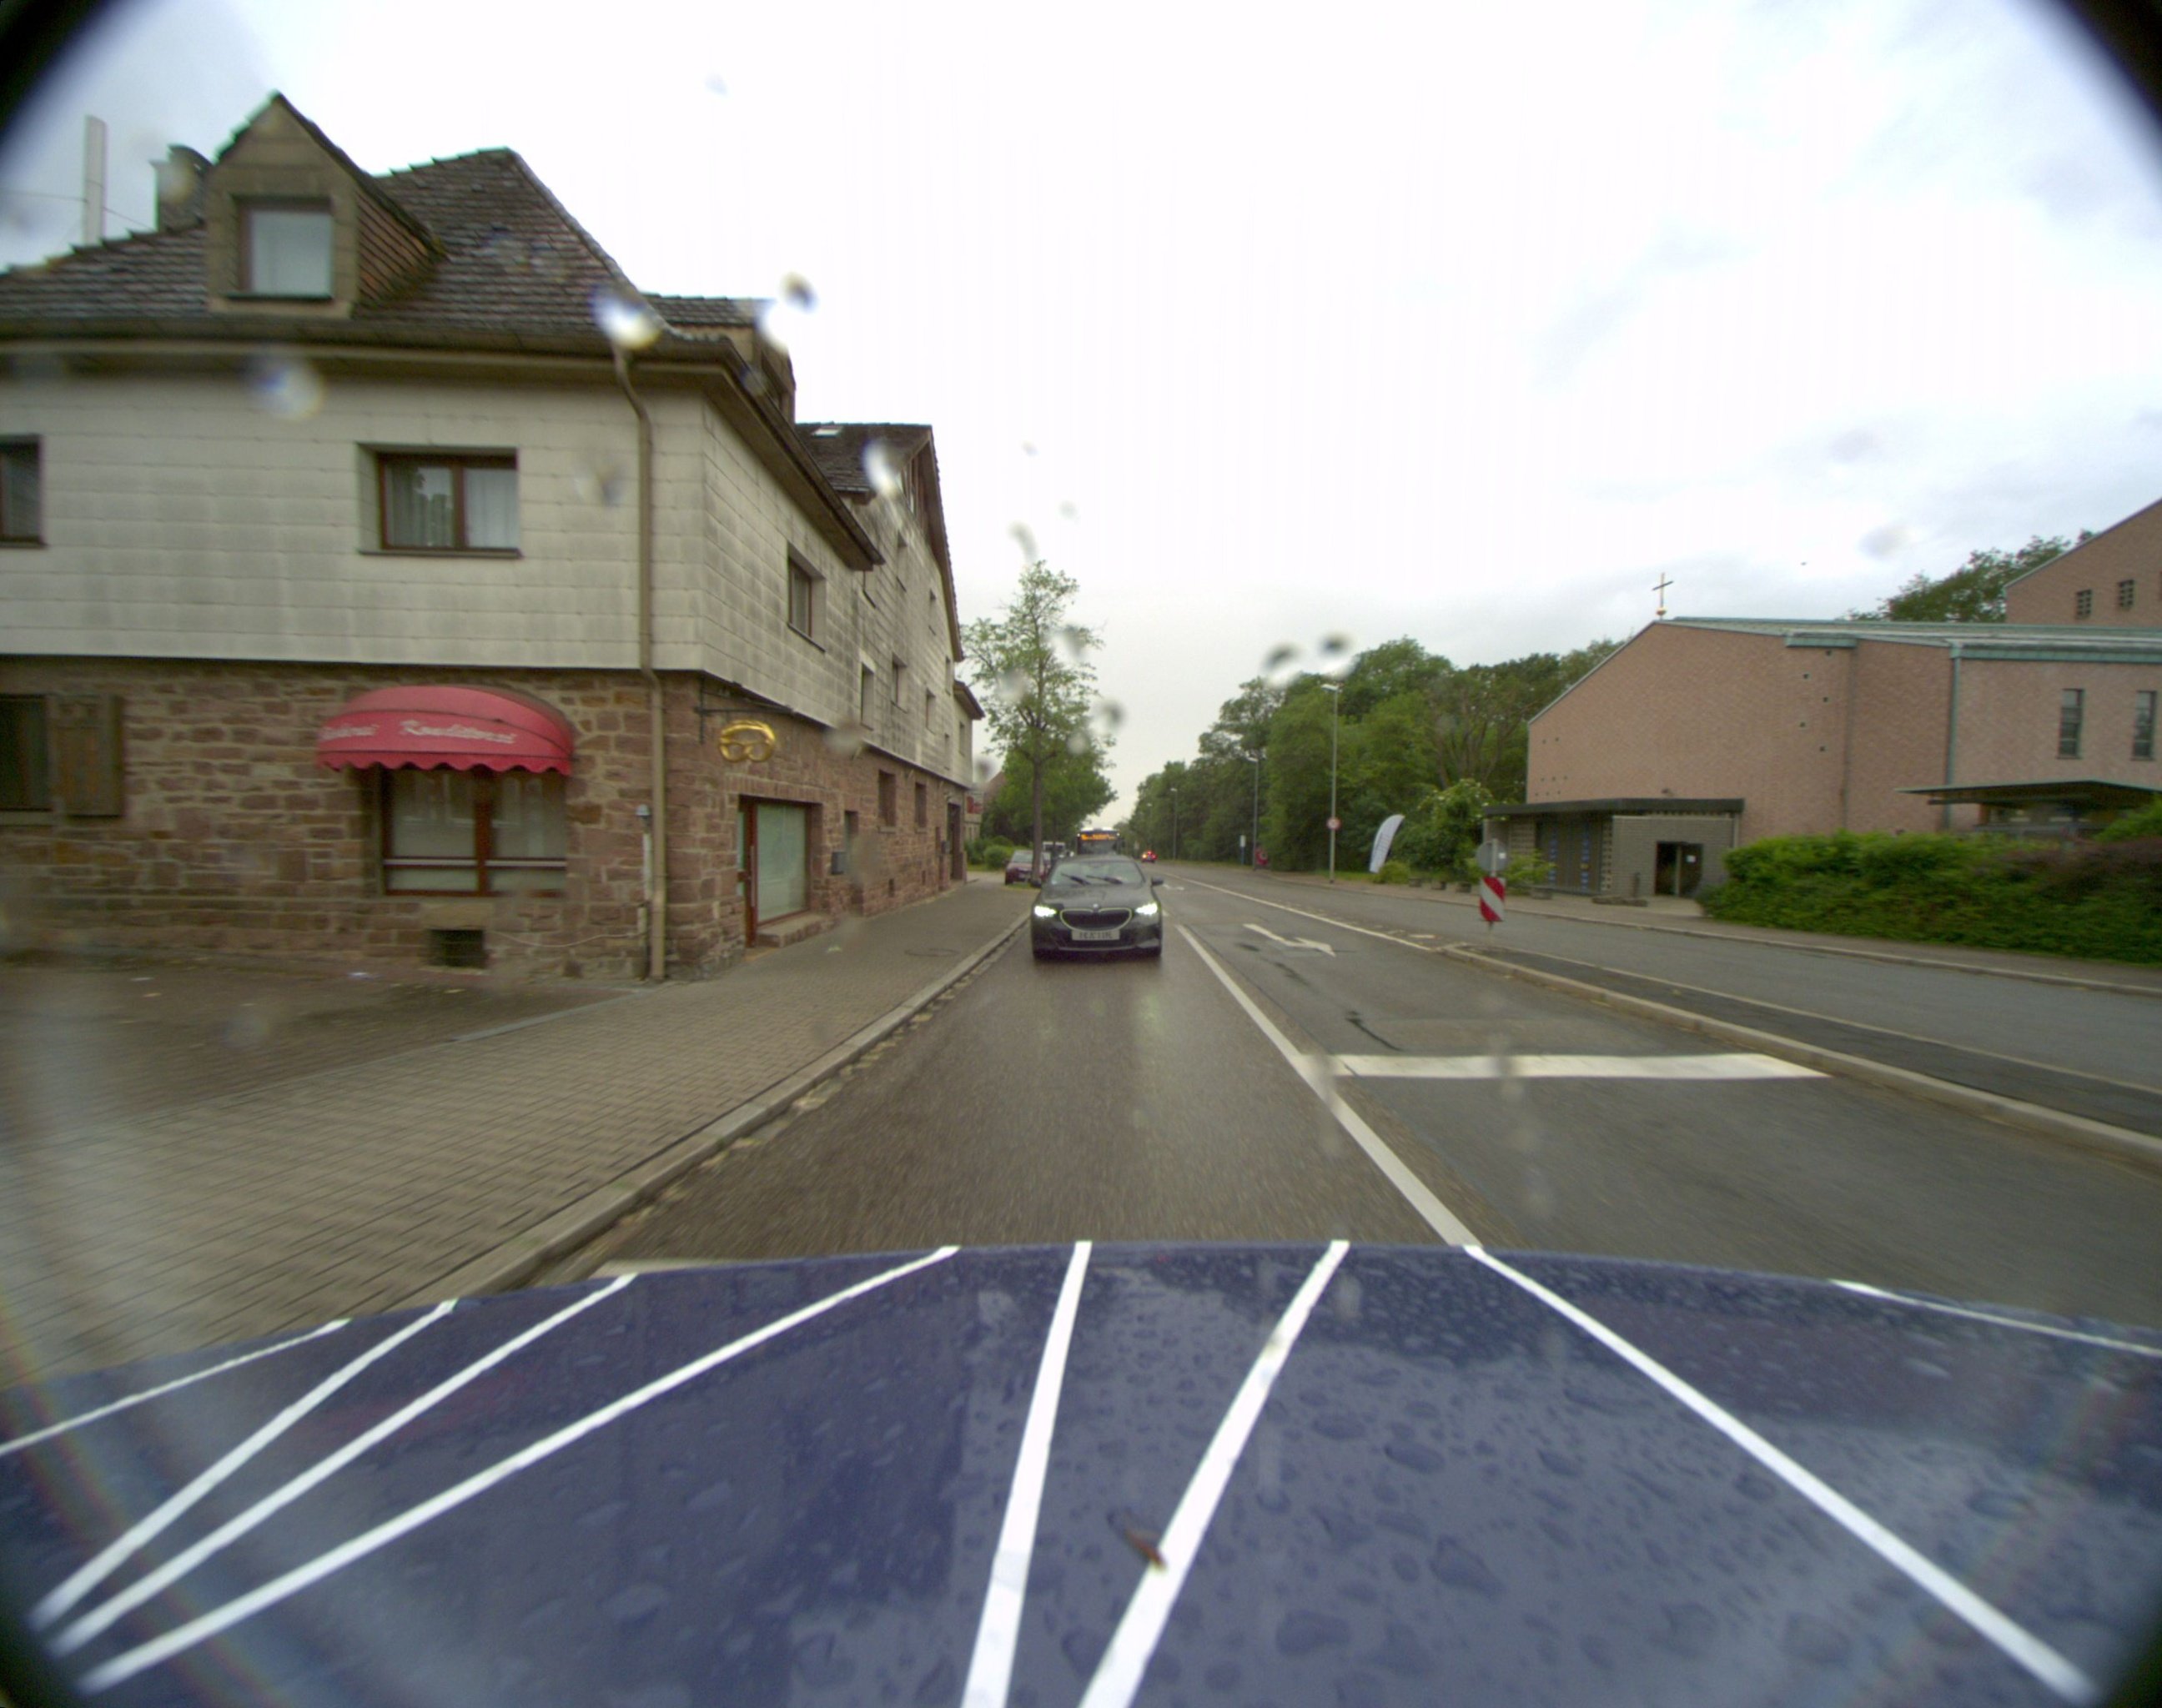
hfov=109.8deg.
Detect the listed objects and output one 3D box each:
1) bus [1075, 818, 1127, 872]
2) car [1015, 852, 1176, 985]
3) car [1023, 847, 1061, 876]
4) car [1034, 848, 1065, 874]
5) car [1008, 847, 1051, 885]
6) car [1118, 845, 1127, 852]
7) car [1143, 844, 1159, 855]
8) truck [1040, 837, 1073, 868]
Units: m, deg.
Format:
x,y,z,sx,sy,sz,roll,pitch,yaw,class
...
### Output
x,y,z,sx,sy,sz,roll,pitch,yaw,class
1.255,-0.569,45.839,2.767,2.858,9.403,-1,1,2,bus
0.235,0.767,11.295,1.882,1.520,4.316,-2,1,2,car
-2.125,0.381,42.310,1.719,1.416,4.000,3,1,2,car
-1.919,0.391,47.734,1.720,1.456,3.999,2,1,0,car
-2.125,0.504,32.046,1.614,1.494,3.756,-1,-1,-1,car
9.824,-1.303,180.297,1.915,1.445,4.947,4,1,0,car
10.551,-0.627,114.159,1.913,1.581,4.316,1,1,-1,car
-1.796,-0.112,57.218,1.998,2.184,5.756,1,0,2,truck
